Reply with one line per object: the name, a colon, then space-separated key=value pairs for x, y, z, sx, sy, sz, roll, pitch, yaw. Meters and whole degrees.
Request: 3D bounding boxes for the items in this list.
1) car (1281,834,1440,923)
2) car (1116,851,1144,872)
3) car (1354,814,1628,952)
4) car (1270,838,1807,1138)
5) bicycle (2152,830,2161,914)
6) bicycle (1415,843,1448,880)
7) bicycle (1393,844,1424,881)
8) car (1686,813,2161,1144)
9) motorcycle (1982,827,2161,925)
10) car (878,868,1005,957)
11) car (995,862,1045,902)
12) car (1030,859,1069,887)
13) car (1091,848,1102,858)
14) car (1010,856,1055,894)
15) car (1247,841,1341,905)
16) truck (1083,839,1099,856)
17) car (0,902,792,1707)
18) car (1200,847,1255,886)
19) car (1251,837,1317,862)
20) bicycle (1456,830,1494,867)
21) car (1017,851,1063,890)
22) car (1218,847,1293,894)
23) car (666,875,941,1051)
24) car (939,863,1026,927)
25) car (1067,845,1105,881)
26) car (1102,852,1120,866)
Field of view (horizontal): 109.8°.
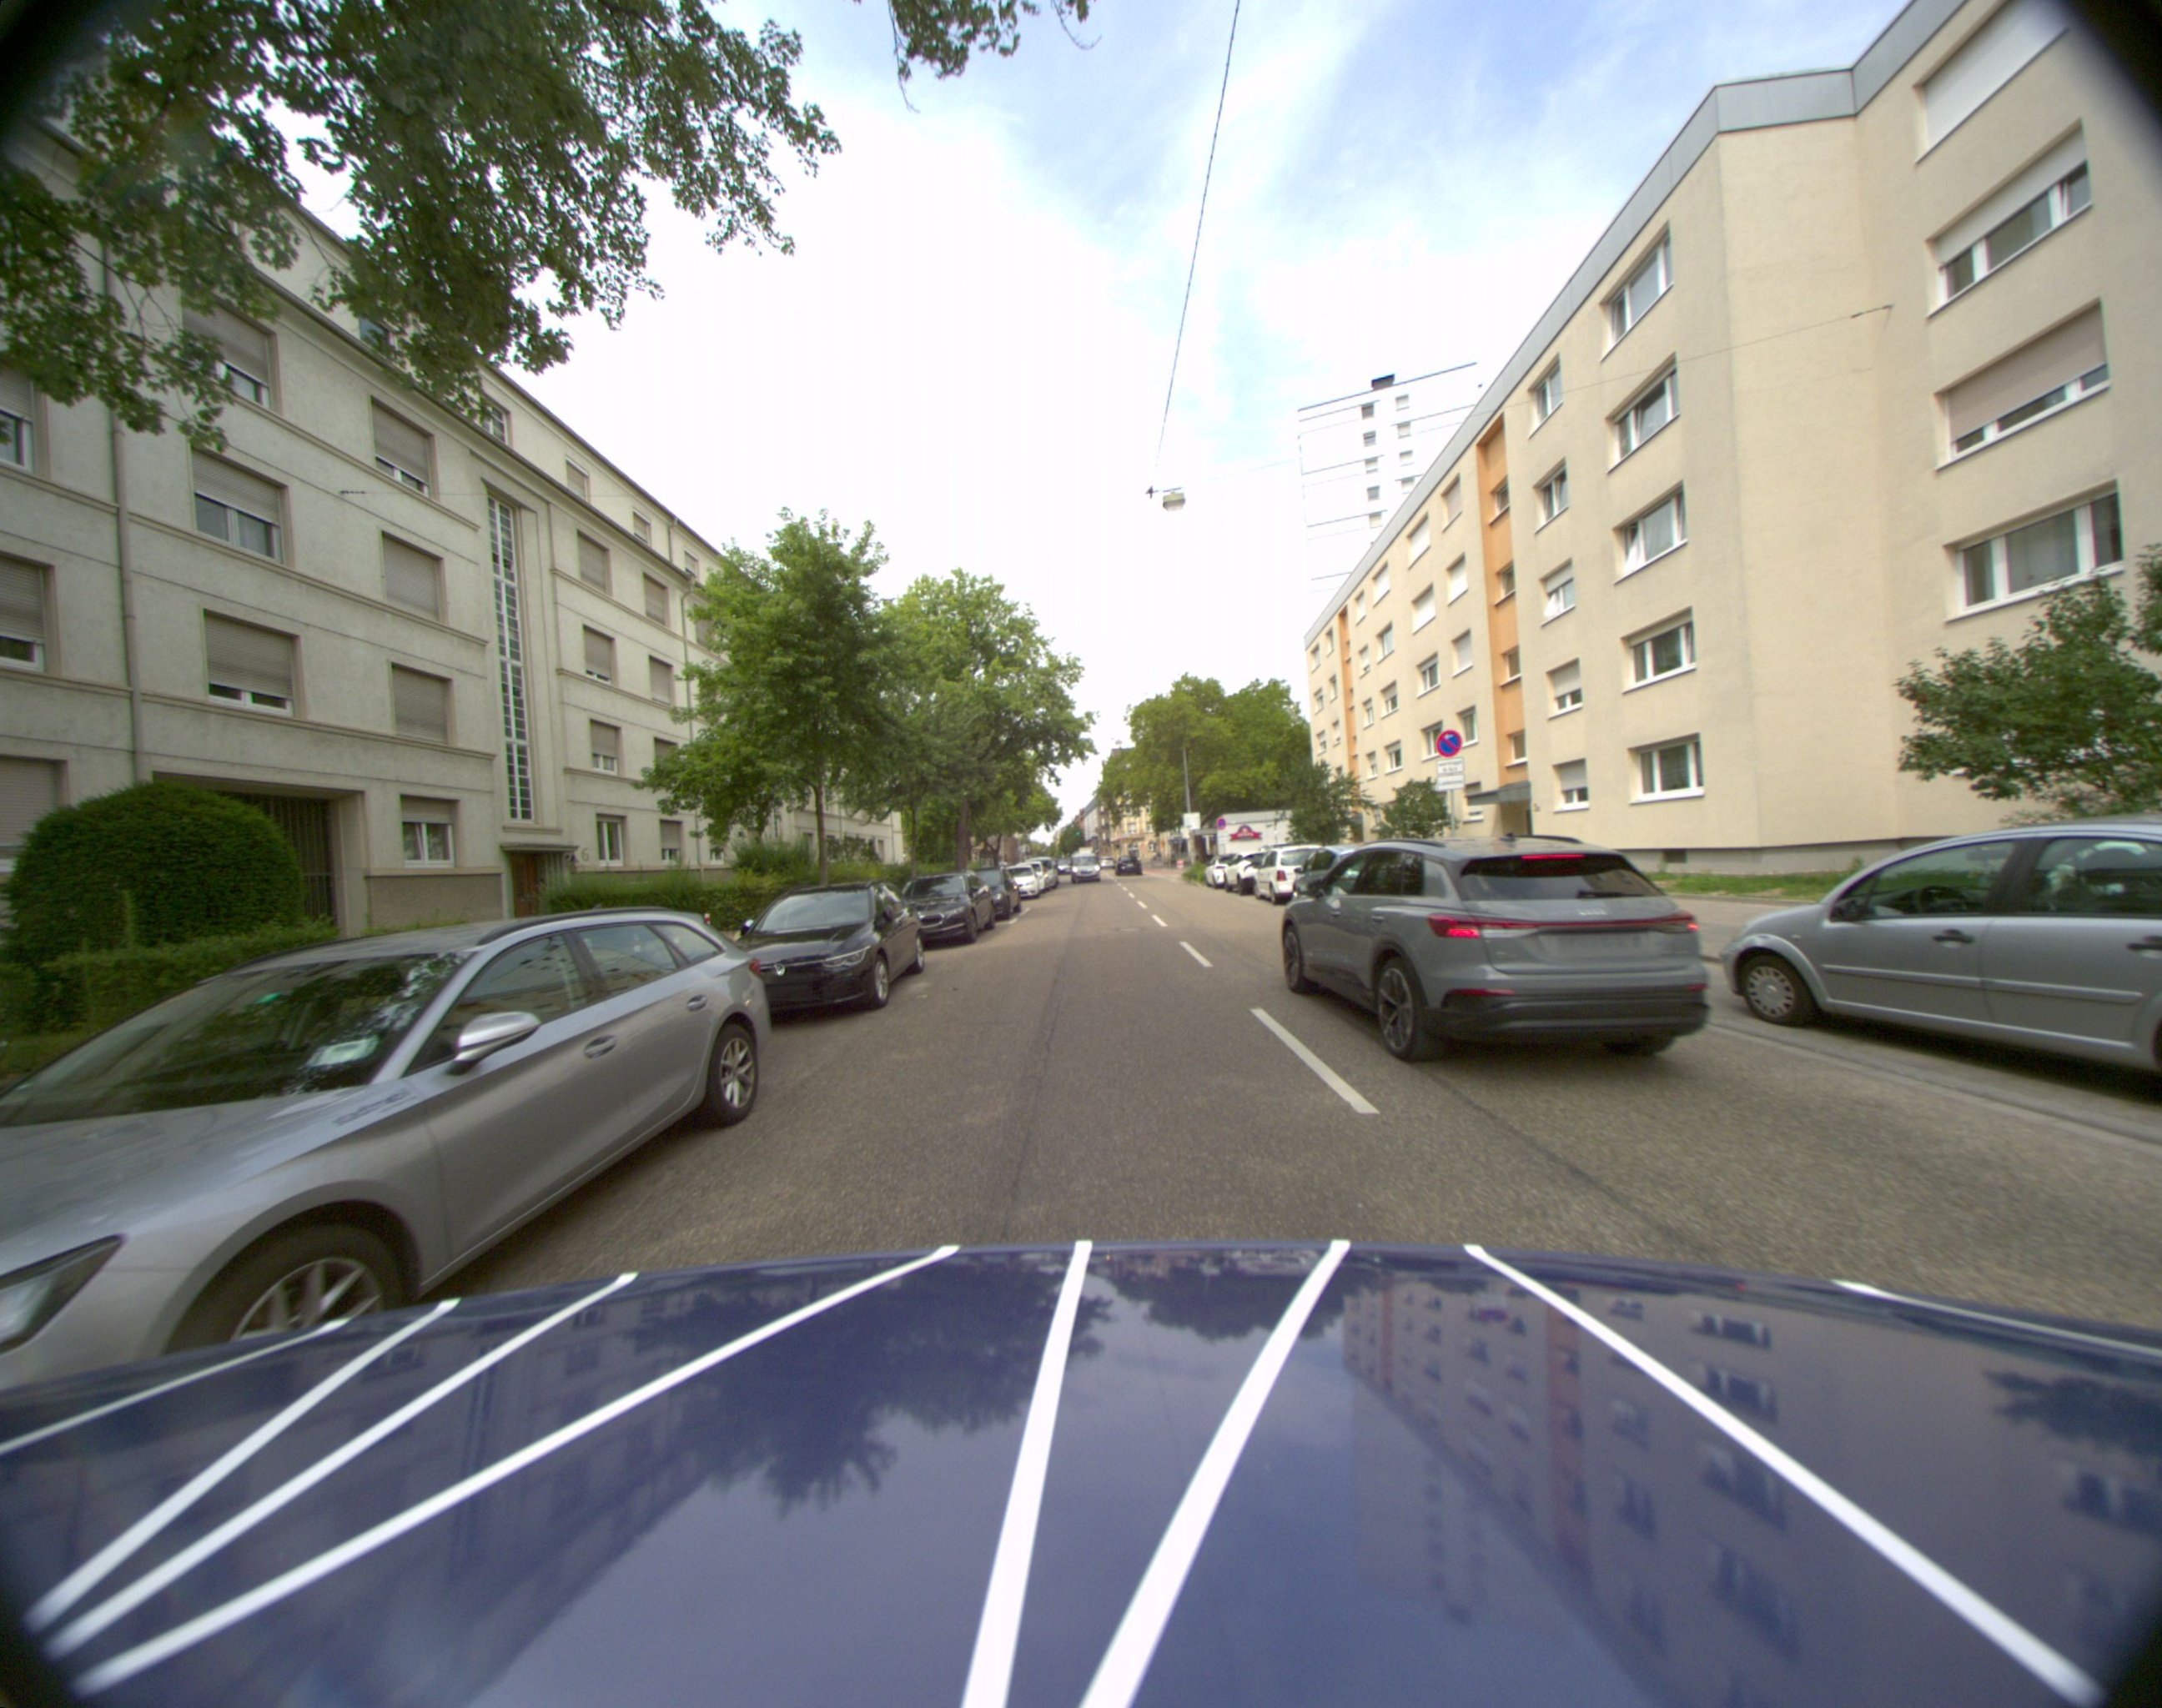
car: x=6.163 y=0.483 z=17.451 sx=1.947 sy=1.603 sz=4.862 roll=-5 pitch=0 yaw=3
car: x=3.799 y=0.562 z=59.365 sx=1.956 sy=1.512 sz=4.613 roll=-1 pitch=0 yaw=1
car: x=6.043 y=0.368 z=11.914 sx=1.947 sy=1.603 sz=4.302 roll=-5 pitch=0 yaw=2
car: x=3.082 y=0.744 z=6.419 sx=1.822 sy=1.576 sz=4.436 roll=-3 pitch=0 yaw=0
bicycle: x=12.838 y=0.198 z=8.125 sx=0.441 sy=0.980 sz=1.616 roll=-5 pitch=0 yaw=1
bicycle: x=12.518 y=0.276 z=27.182 sx=0.537 sy=1.243 sz=2.047 roll=-4 pitch=-1 yaw=12
bicycle: x=11.793 y=0.307 z=27.386 sx=0.580 sy=1.243 sz=1.935 roll=-4 pitch=-1 yaw=12
car: x=6.120 y=0.589 z=4.637 sx=1.674 sy=1.552 sz=3.851 roll=-5 pitch=0 yaw=0
motorcycle: x=11.594 y=0.222 z=8.329 sx=0.663 sy=0.980 sz=2.317 roll=-5 pitch=0 yaw=1
car: x=-2.886 y=1.152 z=16.744 sx=1.701 sy=1.461 sz=4.560 roll=-5 pitch=0 yaw=2
car: x=-2.507 y=1.132 z=32.196 sx=1.701 sy=1.441 sz=4.101 roll=-4 pitch=0 yaw=-1
car: x=-1.856 y=1.145 z=46.315 sx=1.922 sy=1.436 sz=4.239 roll=-5 pitch=0 yaw=2
car: x=2.506 y=-0.156 z=124.939 sx=1.701 sy=1.509 sz=4.000 roll=-3 pitch=0 yaw=0
car: x=-2.300 y=0.976 z=36.838 sx=1.608 sy=1.598 sz=3.805 roll=-5 pitch=0 yaw=2
car: x=6.238 y=0.501 z=22.799 sx=1.701 sy=1.603 sz=4.478 roll=-5 pitch=0 yaw=4
truck: x=1.839 y=-1.153 z=141.692 sx=2.548 sy=3.089 sz=7.019 roll=-2 pitch=0 yaw=-2
car: x=-3.075 y=1.158 z=3.310 sx=1.701 sy=1.461 sz=4.717 roll=-5 pitch=0 yaw=0
car: x=6.367 y=0.520 z=33.326 sx=1.712 sy=1.464 sz=3.990 roll=-5 pitch=0 yaw=3
car: x=15.566 y=-0.307 z=58.573 sx=4.640 sy=1.676 sz=1.850 roll=-3 pitch=0 yaw=7
bicycle: x=13.838 y=-0.177 z=26.743 sx=0.556 sy=1.243 sz=1.919 roll=-4 pitch=-1 yaw=9
car: x=-2.185 y=0.832 z=41.558 sx=1.922 sy=1.854 sz=4.846 roll=-5 pitch=0 yaw=2
car: x=6.330 y=0.557 z=28.002 sx=1.713 sy=1.464 sz=3.989 roll=-5 pitch=0 yaw=-1
car: x=-3.157 y=1.133 z=9.821 sx=1.701 sy=1.461 sz=4.753 roll=-5 pitch=0 yaw=0
car: x=-2.708 y=1.079 z=21.769 sx=1.701 sy=1.461 sz=4.101 roll=-5 pitch=0 yaw=2
car: x=0.278 y=0.560 z=47.861 sx=2.082 sy=2.039 sz=4.680 roll=-4 pitch=0 yaw=-2
car: x=3.393 y=0.555 z=86.869 sx=1.848 sy=1.442 sz=4.185 roll=-3 pitch=0 yaw=1
